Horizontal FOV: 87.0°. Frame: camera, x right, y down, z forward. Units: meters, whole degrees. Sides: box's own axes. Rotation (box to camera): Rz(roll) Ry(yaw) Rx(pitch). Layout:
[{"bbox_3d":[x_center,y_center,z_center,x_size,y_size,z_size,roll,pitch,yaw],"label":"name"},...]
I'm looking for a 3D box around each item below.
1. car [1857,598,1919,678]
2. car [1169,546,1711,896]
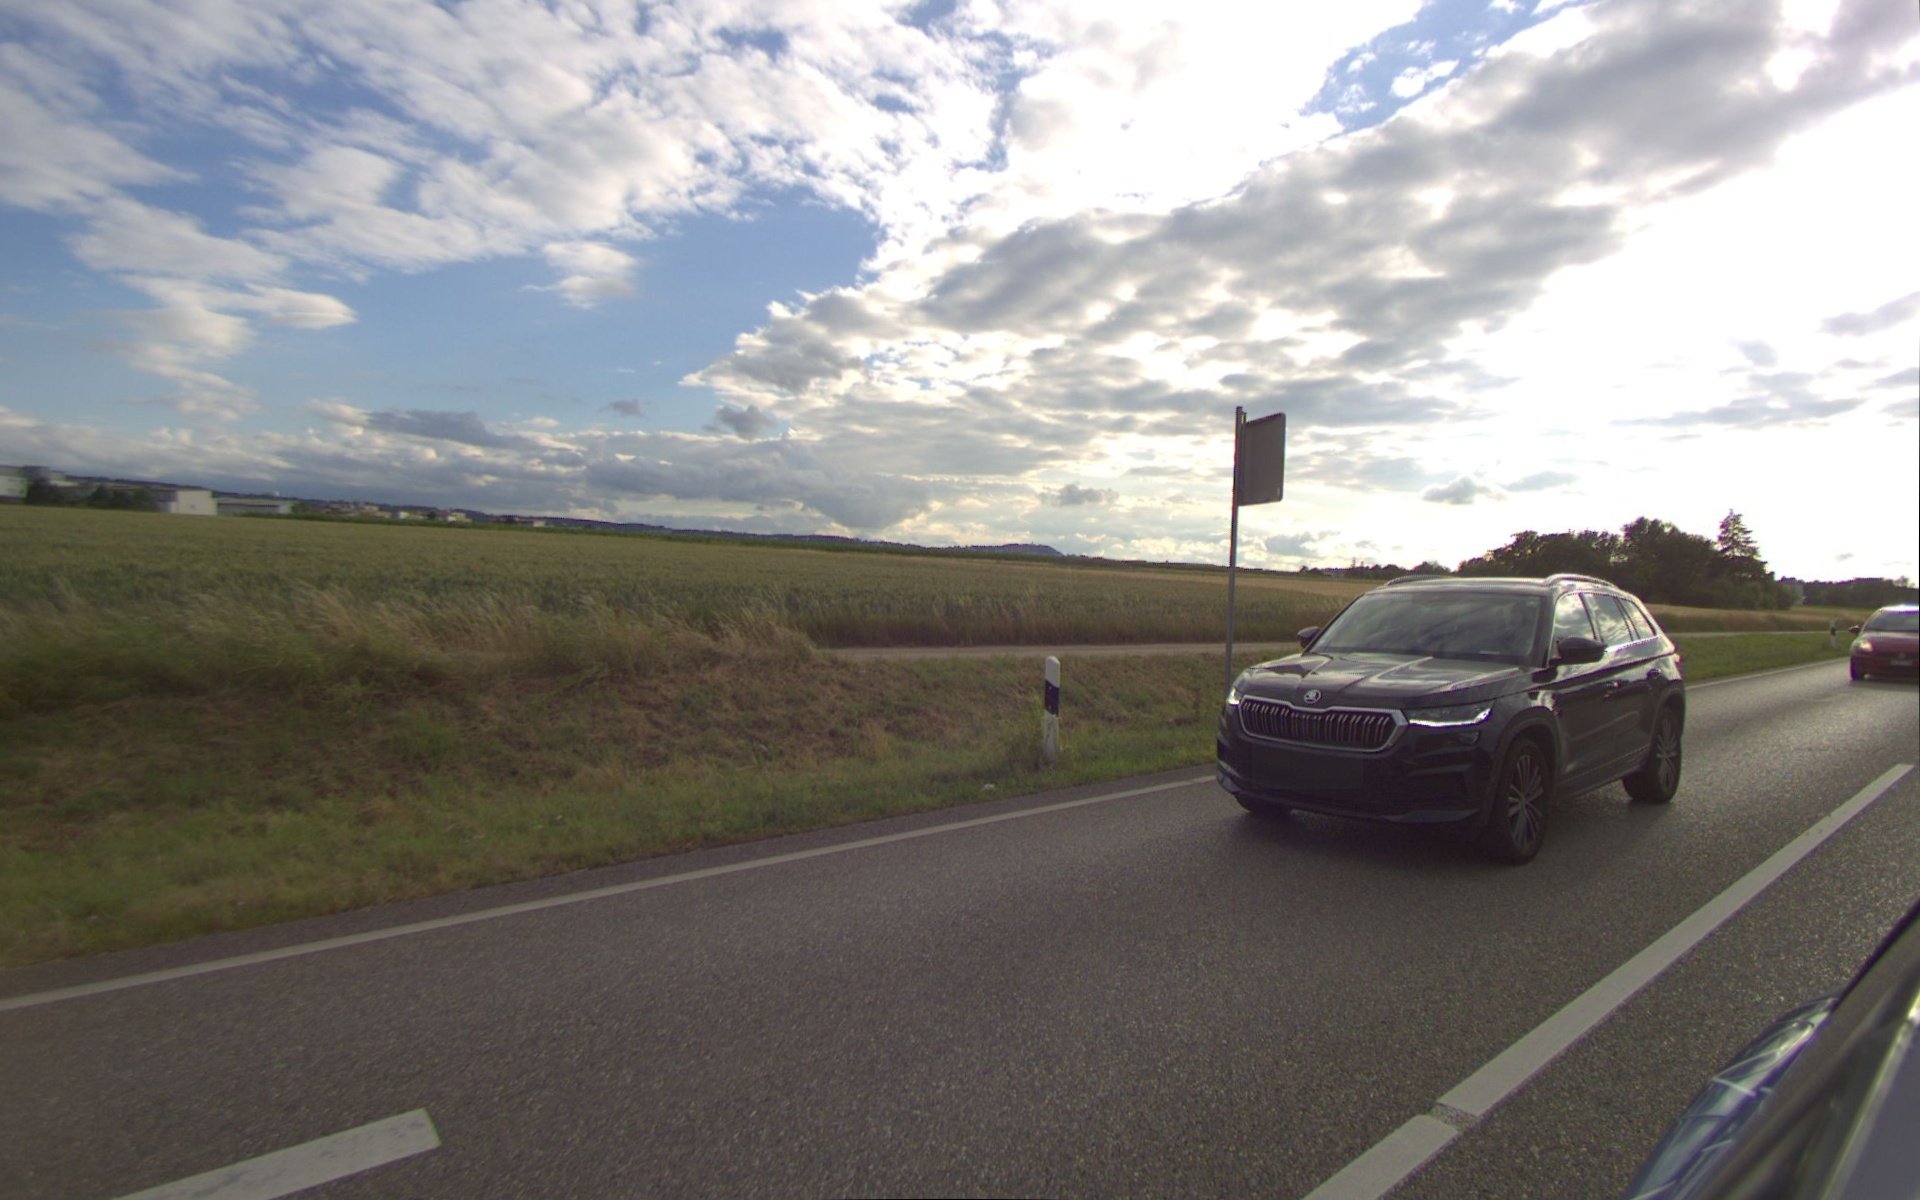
[{"bbox_3d":[19.394,0.709,20.214,3.840,1.475,1.710,-1,0,-41],"label":"car"},{"bbox_3d":[3.611,0.574,7.182,4.477,1.730,1.839,-1,0,-41],"label":"car"}]
